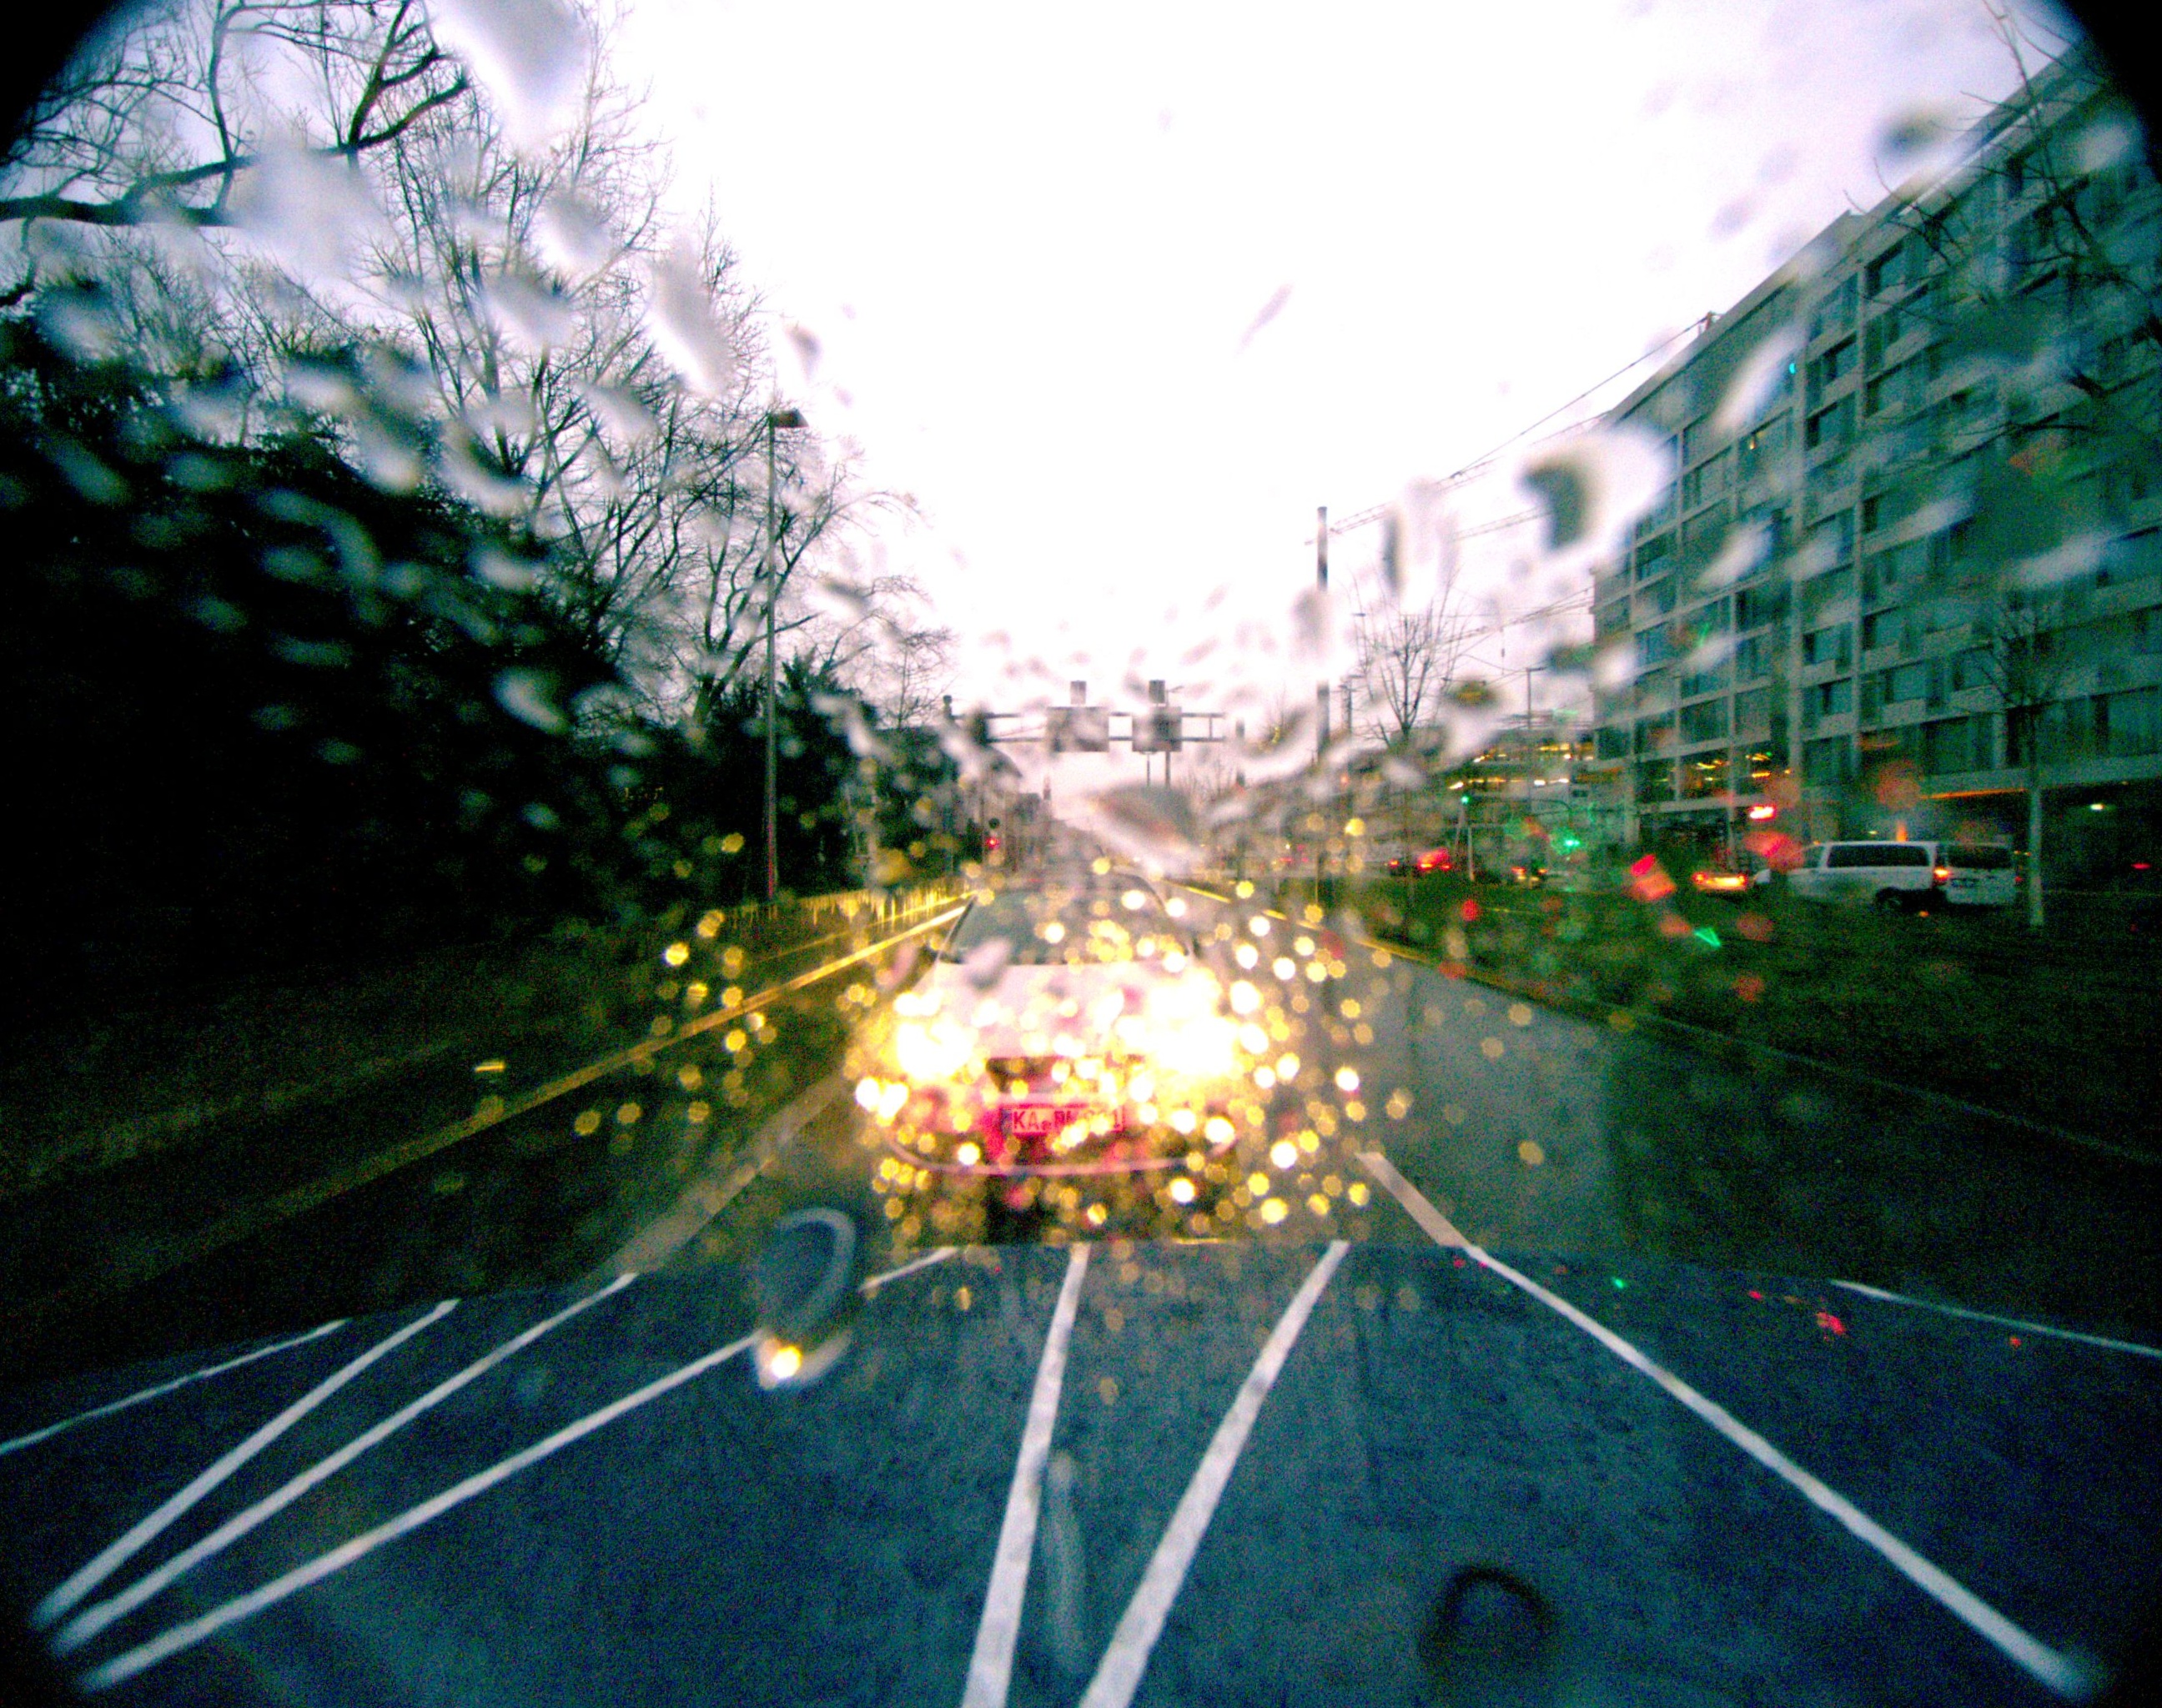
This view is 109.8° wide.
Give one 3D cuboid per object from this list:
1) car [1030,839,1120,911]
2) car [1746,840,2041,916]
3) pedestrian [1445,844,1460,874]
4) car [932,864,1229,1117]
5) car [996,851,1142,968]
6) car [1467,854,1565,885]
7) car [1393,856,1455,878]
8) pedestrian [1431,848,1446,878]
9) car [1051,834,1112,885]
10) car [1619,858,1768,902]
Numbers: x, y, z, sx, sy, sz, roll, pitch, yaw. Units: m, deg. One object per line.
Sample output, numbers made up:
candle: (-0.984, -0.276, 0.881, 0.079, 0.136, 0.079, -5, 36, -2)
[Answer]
car: (-0.103, 0.477, 20.040, 2.073, 1.618, 4.268, -2, 1, 1)
car: (20.019, 0.529, 19.187, 2.086, 1.659, 5.043, 0, 0, 1)
pedestrian: (22.722, 0.281, 46.490, 0.709, 1.794, 0.771, -2, 1, 18)
car: (0.024, 0.900, 6.929, 1.886, 1.552, 4.171, 0, 0, 1)
car: (-0.217, 0.802, 13.258, 2.073, 1.618, 4.267, -2, 1, -1)
car: (20.293, 0.684, 35.688, 2.111, 1.392, 4.257, 0, 0, -1)
car: (20.338, 0.741, 45.223, 1.816, 1.267, 3.999, 0, 0, -1)
pedestrian: (22.036, 0.549, 46.880, 0.708, 1.794, 0.771, -2, 1, 20)
car: (0.036, 0.168, 27.492, 1.998, 1.618, 4.268, -2, 0, 0)
car: (20.385, 0.819, 25.535, 1.816, 1.300, 4.000, 0, 0, 1)
